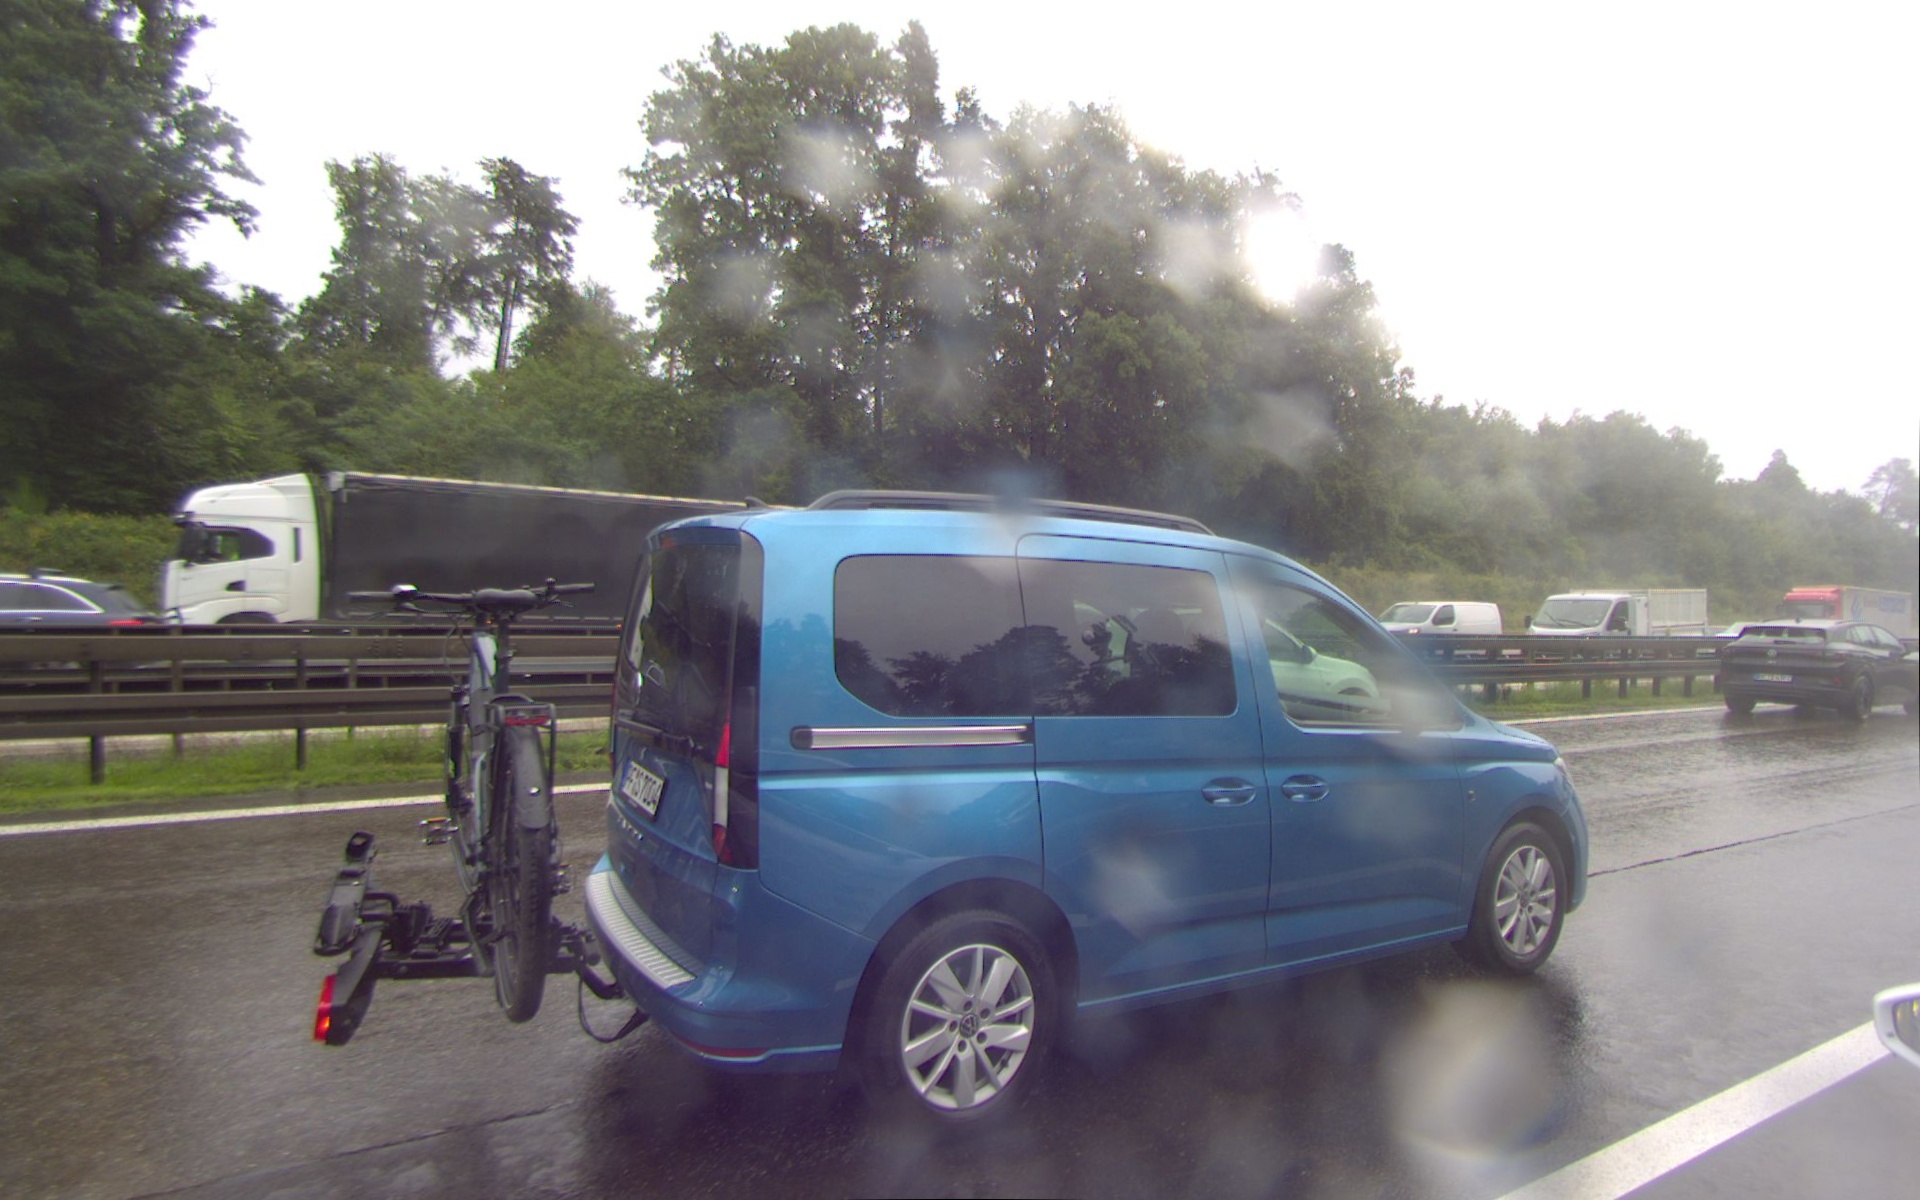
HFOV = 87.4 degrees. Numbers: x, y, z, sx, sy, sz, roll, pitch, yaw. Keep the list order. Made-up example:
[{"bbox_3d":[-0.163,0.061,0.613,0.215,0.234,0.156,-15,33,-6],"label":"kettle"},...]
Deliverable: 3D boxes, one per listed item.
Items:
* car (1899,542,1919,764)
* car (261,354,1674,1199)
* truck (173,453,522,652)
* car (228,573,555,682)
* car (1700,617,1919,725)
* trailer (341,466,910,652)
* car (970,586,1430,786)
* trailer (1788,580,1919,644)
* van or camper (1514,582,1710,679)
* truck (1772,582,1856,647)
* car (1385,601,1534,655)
[{"bbox_3d":[13.856,0.666,12.247,4.957,2.607,2.202,1,0,-31],"label":"car"},{"bbox_3d":[0.323,0.519,4.132,4.951,1.937,2.261,1,0,-28],"label":"car"},{"bbox_3d":[-13.305,-0.871,22.355,6.191,3.869,3.006,1,0,-30],"label":"truck"},{"bbox_3d":[-8.855,0.412,15.943,4.282,1.517,1.827,1,0,-31],"label":"car"},{"bbox_3d":[14.921,1.137,17.383,4.415,1.613,1.836,1,0,-31],"label":"car"},{"bbox_3d":[-7.885,-0.732,25.671,13.406,3.869,3.009,1,0,-31],"label":"trailer"},{"bbox_3d":[2.465,0.717,10.014,4.414,1.613,1.837,1,0,-30],"label":"car"},{"bbox_3d":[60.434,0.939,67.757,13.802,4.006,2.706,2,-2,-31],"label":"trailer"},{"bbox_3d":[18.053,0.822,27.752,5.633,2.455,2.217,1,0,-30],"label":"van or camper"},{"bbox_3d":[54.587,0.997,64.196,4.834,4.006,2.691,1,-2,-31],"label":"truck"},{"bbox_3d":[15.214,0.835,30.512,4.656,1.527,1.982,1,-1,-33],"label":"car"}]
